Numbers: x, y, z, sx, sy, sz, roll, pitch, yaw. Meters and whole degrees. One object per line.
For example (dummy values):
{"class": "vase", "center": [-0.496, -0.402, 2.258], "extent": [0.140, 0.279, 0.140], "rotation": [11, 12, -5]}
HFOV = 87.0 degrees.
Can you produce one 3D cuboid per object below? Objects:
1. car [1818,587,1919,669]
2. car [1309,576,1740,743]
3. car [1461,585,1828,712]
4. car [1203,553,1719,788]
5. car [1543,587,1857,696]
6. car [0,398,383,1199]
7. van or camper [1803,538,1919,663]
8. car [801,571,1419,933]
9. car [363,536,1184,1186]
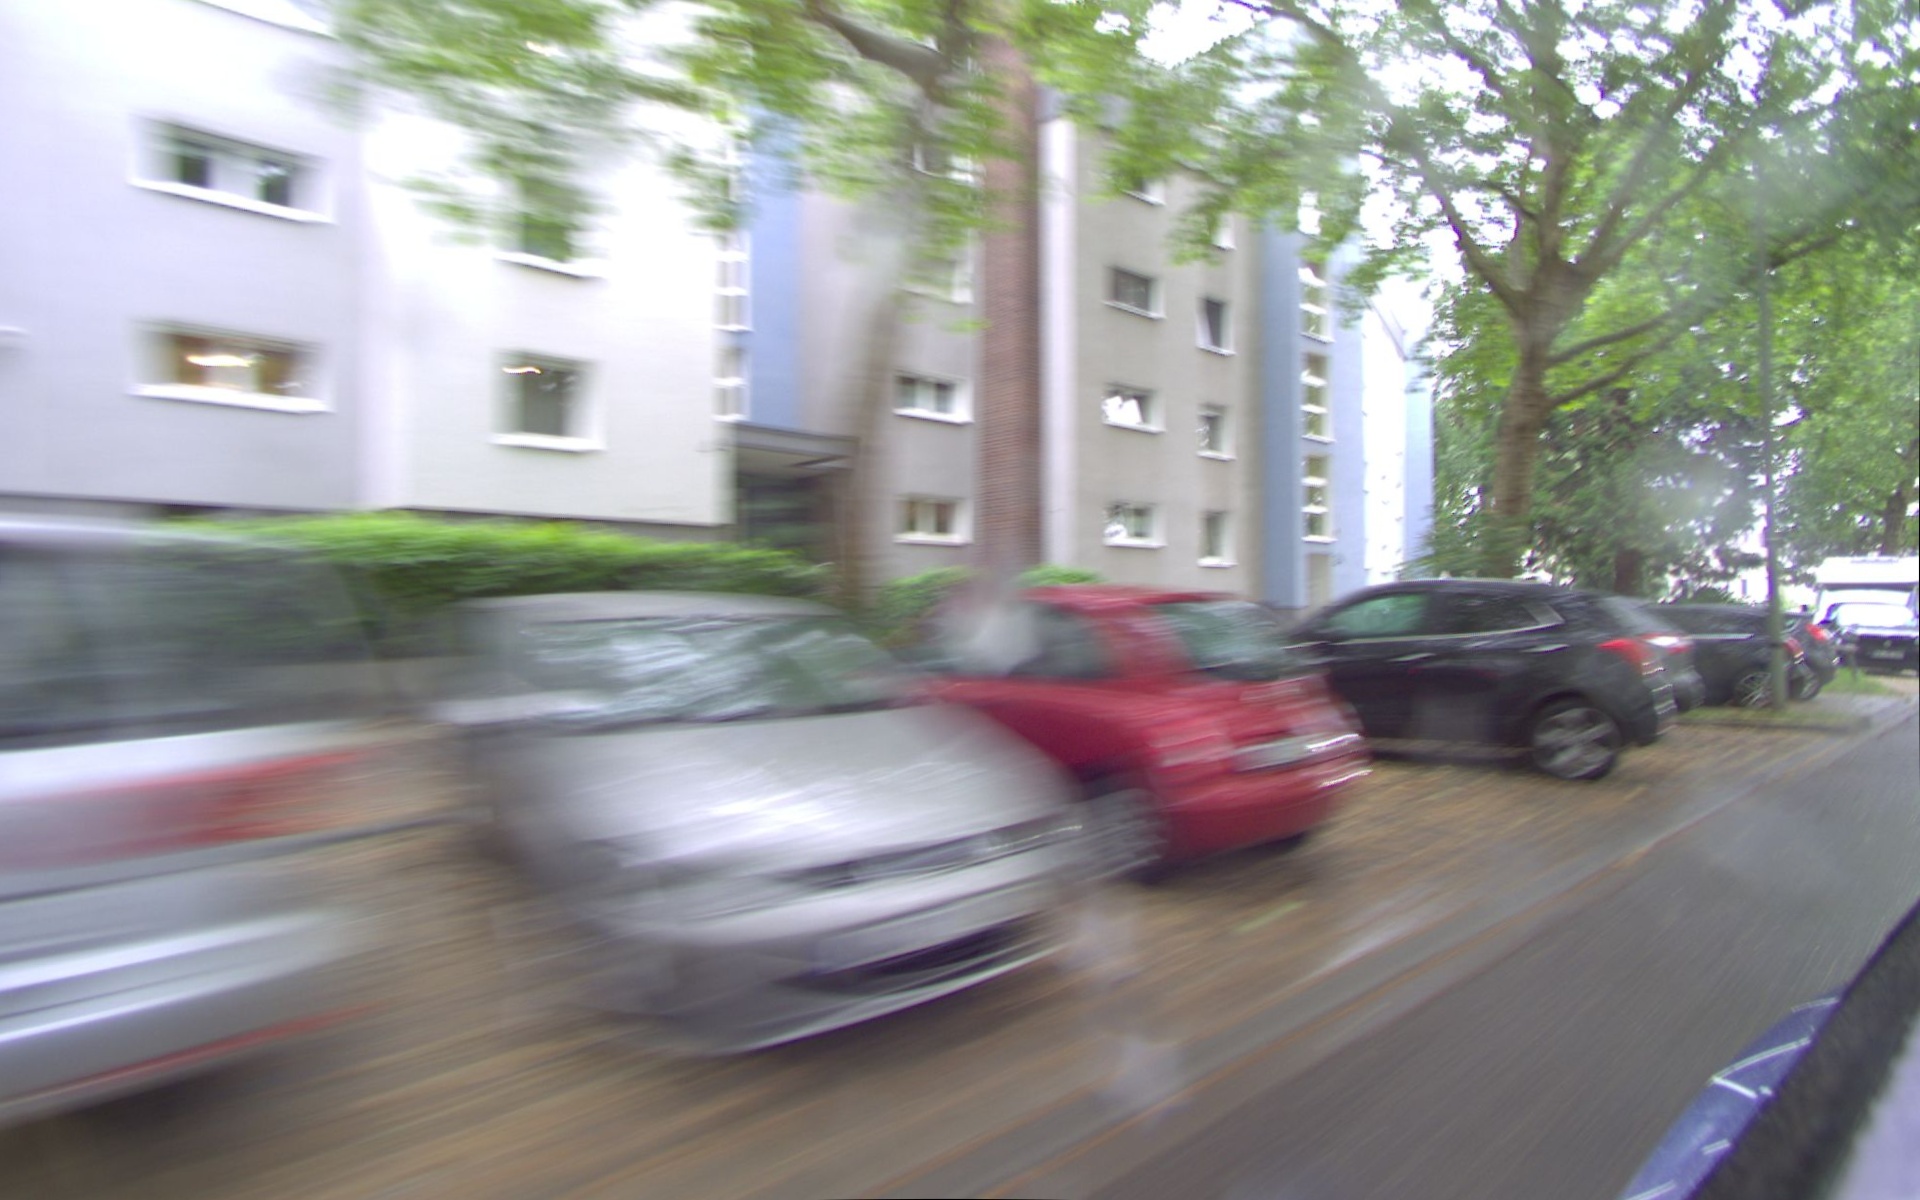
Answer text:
{"class": "car", "center": [20.202, 0.604, 22.201], "extent": [1.680, 1.674, 2.911], "rotation": [-1, -2, 33]}
{"class": "car", "center": [6.142, 0.621, 11.588], "extent": [3.954, 1.622, 2.019], "rotation": [-1, -1, 23]}
{"class": "car", "center": [9.494, 0.658, 14.455], "extent": [3.949, 1.622, 1.791], "rotation": [-1, -2, 20]}
{"class": "car", "center": [4.328, 0.516, 9.300], "extent": [3.823, 1.719, 1.824], "rotation": [2, 0, 22]}
{"class": "car", "center": [11.880, 0.654, 16.565], "extent": [3.721, 1.622, 1.791], "rotation": [-1, -2, 20]}
{"class": "car", "center": [-3.322, 0.511, 3.382], "extent": [1.769, 1.750, 3.994], "rotation": [1, -2, -39]}
{"class": "van or camper", "center": [23.945, 0.025, 25.921], "extent": [6.740, 2.843, 2.324], "rotation": [0, -1, -39]}
{"class": "car", "center": [0.654, 0.624, 6.393], "extent": [1.706, 1.556, 3.714], "rotation": [1, 1, -37]}
{"class": "car", "center": [-1.191, 0.659, 4.493], "extent": [1.770, 1.532, 3.992], "rotation": [1, -2, -42]}
